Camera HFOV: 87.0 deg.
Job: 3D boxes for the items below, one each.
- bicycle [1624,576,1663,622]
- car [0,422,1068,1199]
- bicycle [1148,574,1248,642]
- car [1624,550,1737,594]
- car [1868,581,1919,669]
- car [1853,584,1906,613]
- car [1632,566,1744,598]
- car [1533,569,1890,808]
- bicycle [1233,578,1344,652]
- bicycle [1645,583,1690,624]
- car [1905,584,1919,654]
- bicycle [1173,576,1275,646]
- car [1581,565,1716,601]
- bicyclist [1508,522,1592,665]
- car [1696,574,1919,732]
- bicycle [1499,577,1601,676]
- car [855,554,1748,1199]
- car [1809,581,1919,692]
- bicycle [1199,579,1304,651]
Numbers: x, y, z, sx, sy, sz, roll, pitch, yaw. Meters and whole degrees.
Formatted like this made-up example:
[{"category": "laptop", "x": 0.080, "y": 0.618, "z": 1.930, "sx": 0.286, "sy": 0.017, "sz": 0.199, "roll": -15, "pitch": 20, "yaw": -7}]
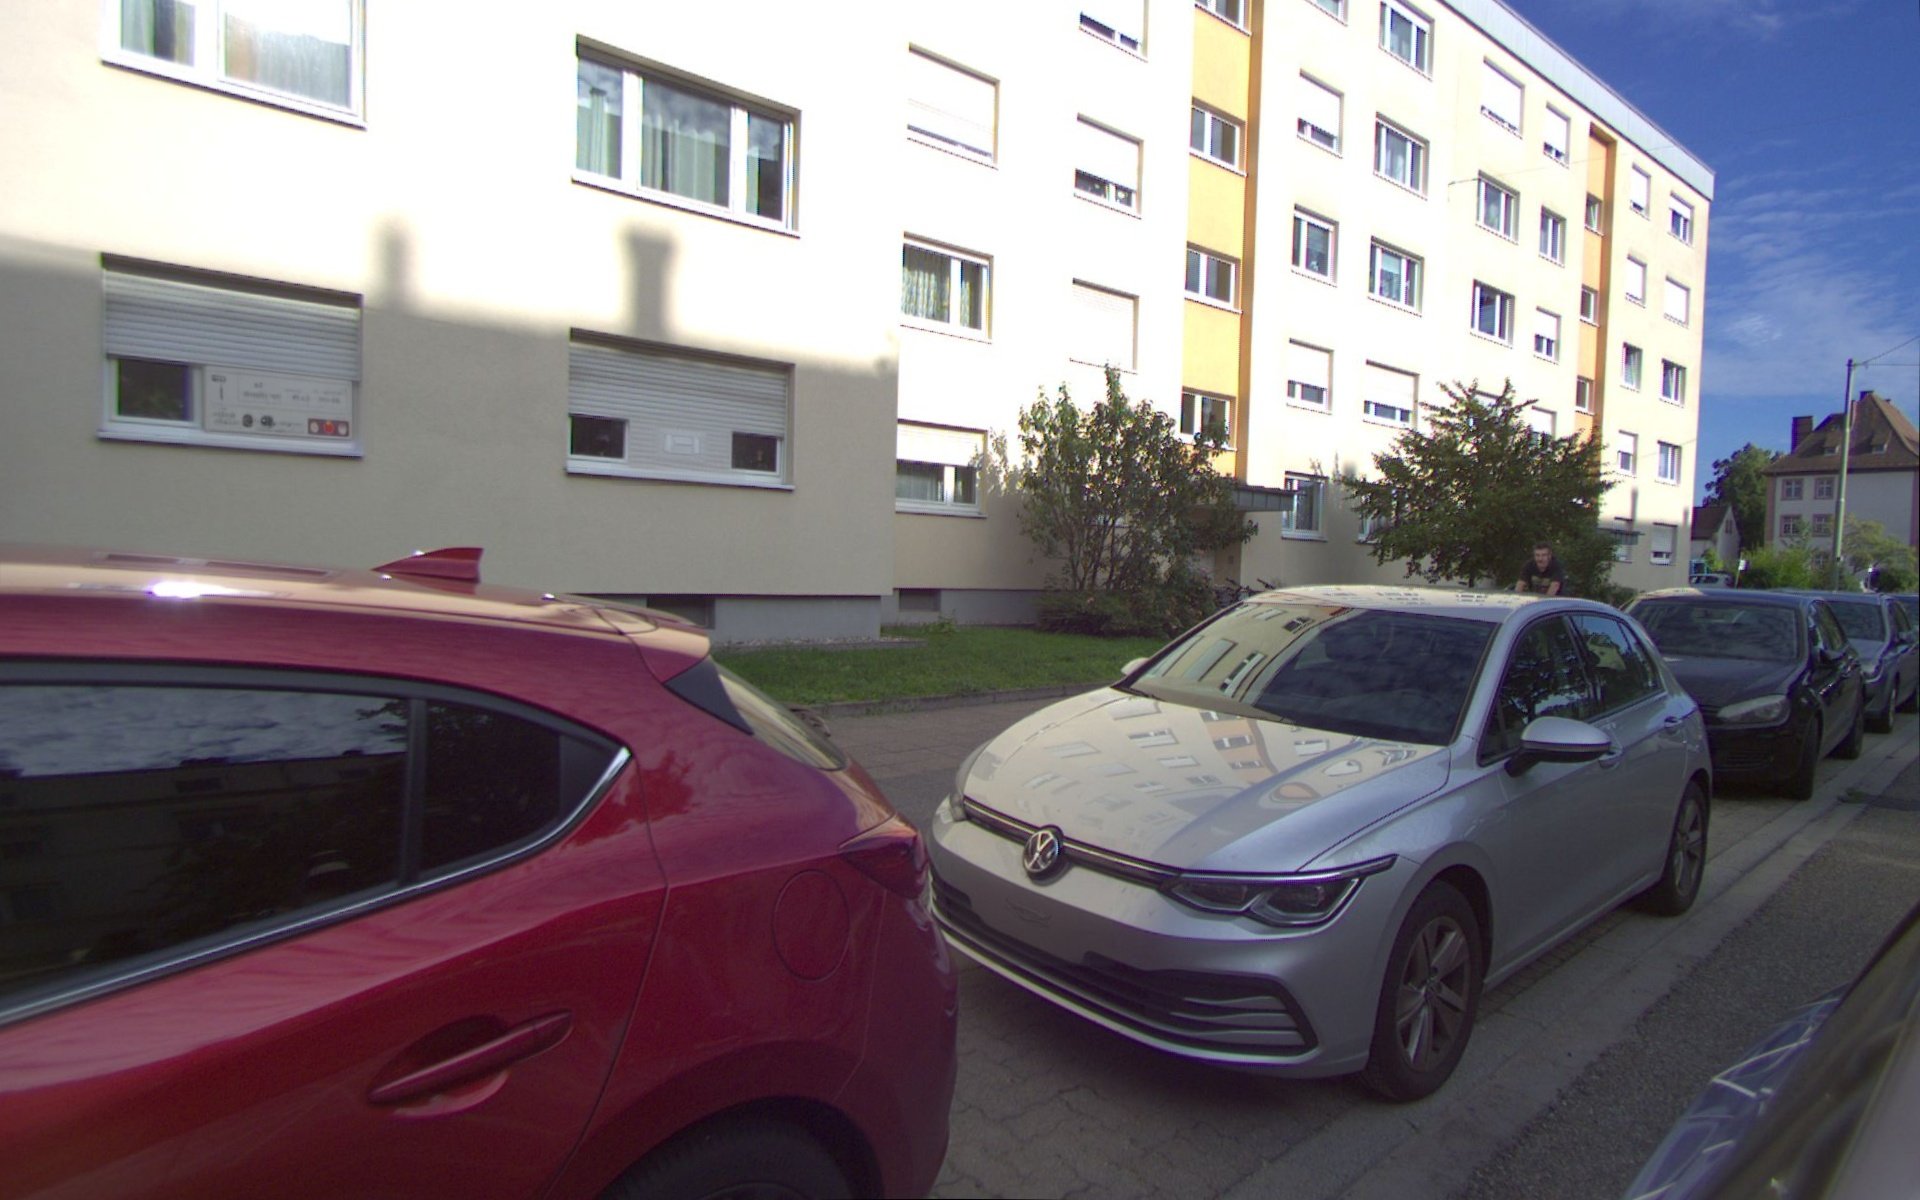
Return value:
[{"category": "bicycle", "x": 18.472, "y": -0.037, "z": 27.350, "sx": 1.564, "sy": 1.150, "sz": 0.446, "roll": -2, "pitch": 5, "yaw": -42}, {"category": "car", "x": -1.859, "y": 0.574, "z": 1.092, "sx": 1.729, "sy": 1.533, "sz": 4.124, "roll": 4, "pitch": 3, "yaw": 44}, {"category": "bicycle", "x": 3.965, "y": 0.113, "z": 16.745, "sx": 1.991, "sy": 1.043, "sz": 0.502, "roll": -1, "pitch": 5, "yaw": -42}, {"category": "car", "x": 38.016, "y": -1.507, "z": 53.456, "sx": 2.321, "sy": 2.219, "sz": 4.285, "roll": 0, "pitch": 2, "yaw": -33}, {"category": "car", "x": 18.493, "y": 0.456, "z": 19.036, "sx": 3.807, "sy": 1.519, "sz": 1.686, "roll": 0, "pitch": 3, "yaw": -42}, {"category": "car", "x": 58.676, "y": -0.095, "z": 64.565, "sx": 4.016, "sy": 1.740, "sz": 1.889, "roll": 0, "pitch": 2, "yaw": -39}, {"category": "car", "x": 36.222, "y": -0.907, "z": 50.451, "sx": 1.833, "sy": 1.500, "sz": 4.095, "roll": 0, "pitch": 2, "yaw": -31}, {"category": "car", "x": 6.472, "y": 0.559, "z": 8.554, "sx": 3.874, "sy": 1.509, "sz": 1.665, "roll": 0, "pitch": 3, "yaw": -43}, {"category": "bicycle", "x": 5.078, "y": 0.203, "z": 15.552, "sx": 2.082, "sy": 1.043, "sz": 0.595, "roll": -1, "pitch": 5, "yaw": -42}, {"category": "bicycle", "x": 18.834, "y": 0.078, "z": 26.929, "sx": 1.663, "sy": 1.010, "sz": 0.597, "roll": -3, "pitch": 3, "yaw": -41}, {"category": "car", "x": 22.239, "y": 0.430, "z": 22.191, "sx": 4.131, "sy": 1.453, "sz": 1.688, "roll": 0, "pitch": 3, "yaw": -40}, {"category": "bicycle", "x": 4.283, "y": 0.149, "z": 16.341, "sx": 2.033, "sy": 1.043, "sz": 0.502, "roll": -1, "pitch": 5, "yaw": -42}, {"category": "car", "x": 30.946, "y": -0.805, "z": 45.640, "sx": 1.835, "sy": 1.500, "sz": 4.682, "roll": 0, "pitch": 2, "yaw": -35}, {"category": "bicyclist", "x": 7.310, "y": -0.089, "z": 12.536, "sx": 0.877, "sy": 1.699, "sz": 0.624, "roll": 0, "pitch": 1, "yaw": -42}, {"category": "car", "x": 10.455, "y": 0.496, "z": 12.140, "sx": 4.219, "sy": 1.503, "sz": 1.687, "roll": -1, "pitch": 4, "yaw": -41}, {"category": "bicycle", "x": 7.398, "y": 0.301, "z": 12.655, "sx": 1.896, "sy": 1.149, "sz": 0.524, "roll": 0, "pitch": 2, "yaw": -42}, {"category": "car", "x": 1.697, "y": 0.591, "z": 4.203, "sx": 3.987, "sy": 1.433, "sz": 1.666, "roll": -1, "pitch": 4, "yaw": -40}, {"category": "car", "x": 14.548, "y": 0.498, "z": 15.607, "sx": 4.110, "sy": 1.481, "sz": 1.702, "roll": -1, "pitch": 3, "yaw": -43}, {"category": "bicycle", "x": 4.616, "y": 0.209, "z": 15.941, "sx": 2.059, "sy": 1.043, "sz": 0.502, "roll": -1, "pitch": 5, "yaw": -42}]
